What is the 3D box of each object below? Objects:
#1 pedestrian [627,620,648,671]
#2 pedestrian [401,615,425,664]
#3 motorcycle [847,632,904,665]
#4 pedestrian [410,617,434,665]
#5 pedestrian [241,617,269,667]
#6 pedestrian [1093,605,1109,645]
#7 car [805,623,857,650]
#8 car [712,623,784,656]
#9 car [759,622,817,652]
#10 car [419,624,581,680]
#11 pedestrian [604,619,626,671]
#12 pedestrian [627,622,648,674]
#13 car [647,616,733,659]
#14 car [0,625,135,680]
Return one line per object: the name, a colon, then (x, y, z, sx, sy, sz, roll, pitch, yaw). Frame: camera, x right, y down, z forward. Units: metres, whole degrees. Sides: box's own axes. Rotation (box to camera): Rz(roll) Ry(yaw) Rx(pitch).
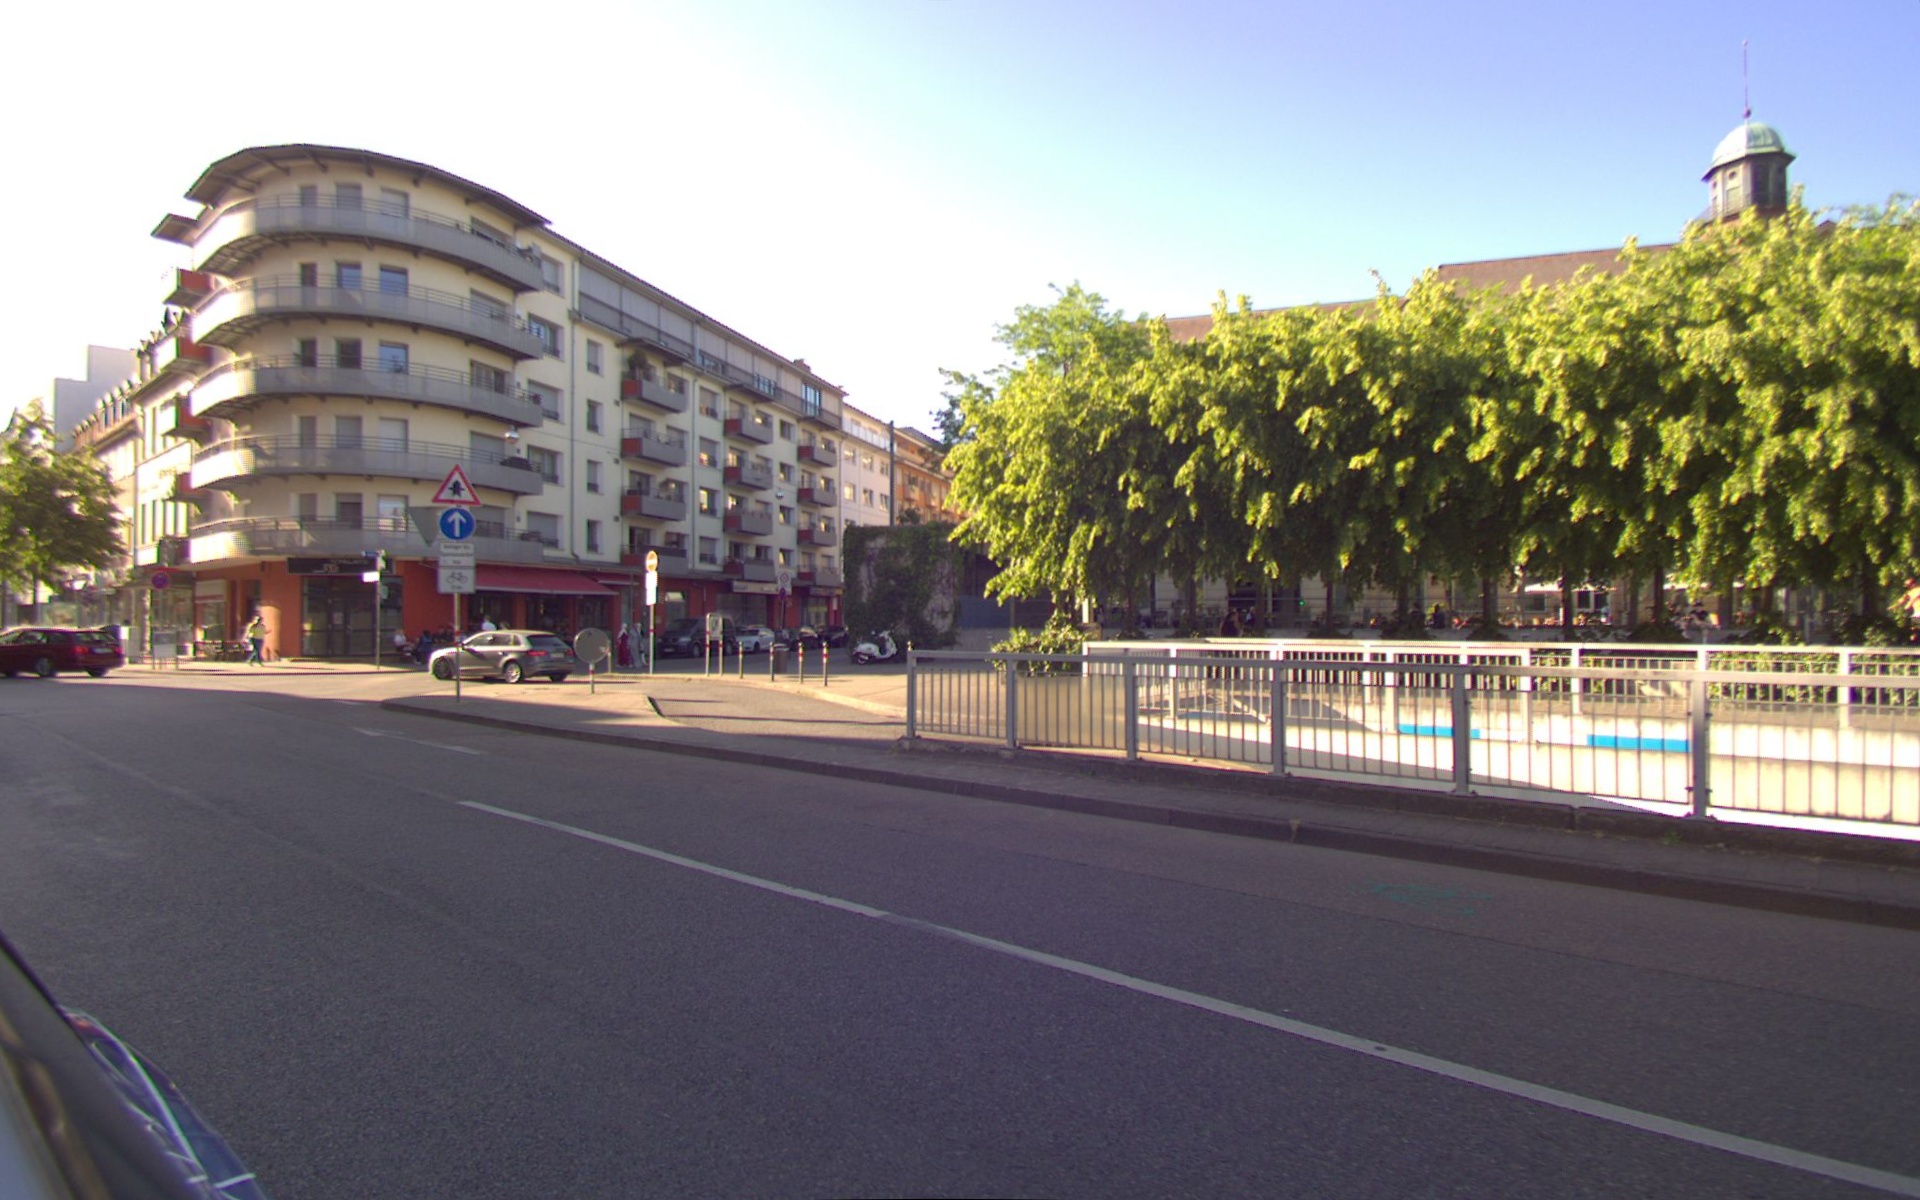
pedestrian: (-11.767, 1.661, 36.943, 0.574, 1.806, 0.601, -1, 0, 1)
pedestrian: (-19.808, 1.428, 36.647, 0.642, 1.721, 0.568, -2, -1, 44)
motorcycle: (-3.004, 1.713, 36.097, 1.898, 1.110, 0.684, -1, -1, -26)
pedestrian: (-19.254, 1.459, 36.216, 0.642, 1.721, 0.568, -2, -1, 44)
pedestrian: (-23.832, 1.415, 34.192, 0.792, 1.634, 0.563, -2, -1, 38)
pedestrian: (6.427, 1.140, 45.991, 0.578, 1.806, 0.597, -1, 0, 21)
car: (-8.202, 2.303, 64.632, 1.777, 1.633, 3.911, -1, -1, 19)
car: (-11.237, 2.080, 53.923, 1.939, 1.633, 4.272, -1, -1, 17)
car: (-10.050, 2.139, 59.488, 1.776, 1.633, 3.913, -1, -1, 17)
car: (-12.522, 1.401, 27.569, 3.896, 1.407, 1.796, -1, -1, 20)
pedestrian: (-12.225, 1.582, 35.858, 0.574, 1.806, 0.602, -1, 0, -4)
pedestrian: (-11.560, 1.720, 36.272, 0.574, 1.806, 0.602, -1, 0, -4)
car: (-12.872, 1.755, 48.541, 1.939, 1.927, 4.402, -1, -1, 17)
car: (-25.939, 1.457, 28.253, 4.192, 1.407, 1.898, -1, -1, -4)
